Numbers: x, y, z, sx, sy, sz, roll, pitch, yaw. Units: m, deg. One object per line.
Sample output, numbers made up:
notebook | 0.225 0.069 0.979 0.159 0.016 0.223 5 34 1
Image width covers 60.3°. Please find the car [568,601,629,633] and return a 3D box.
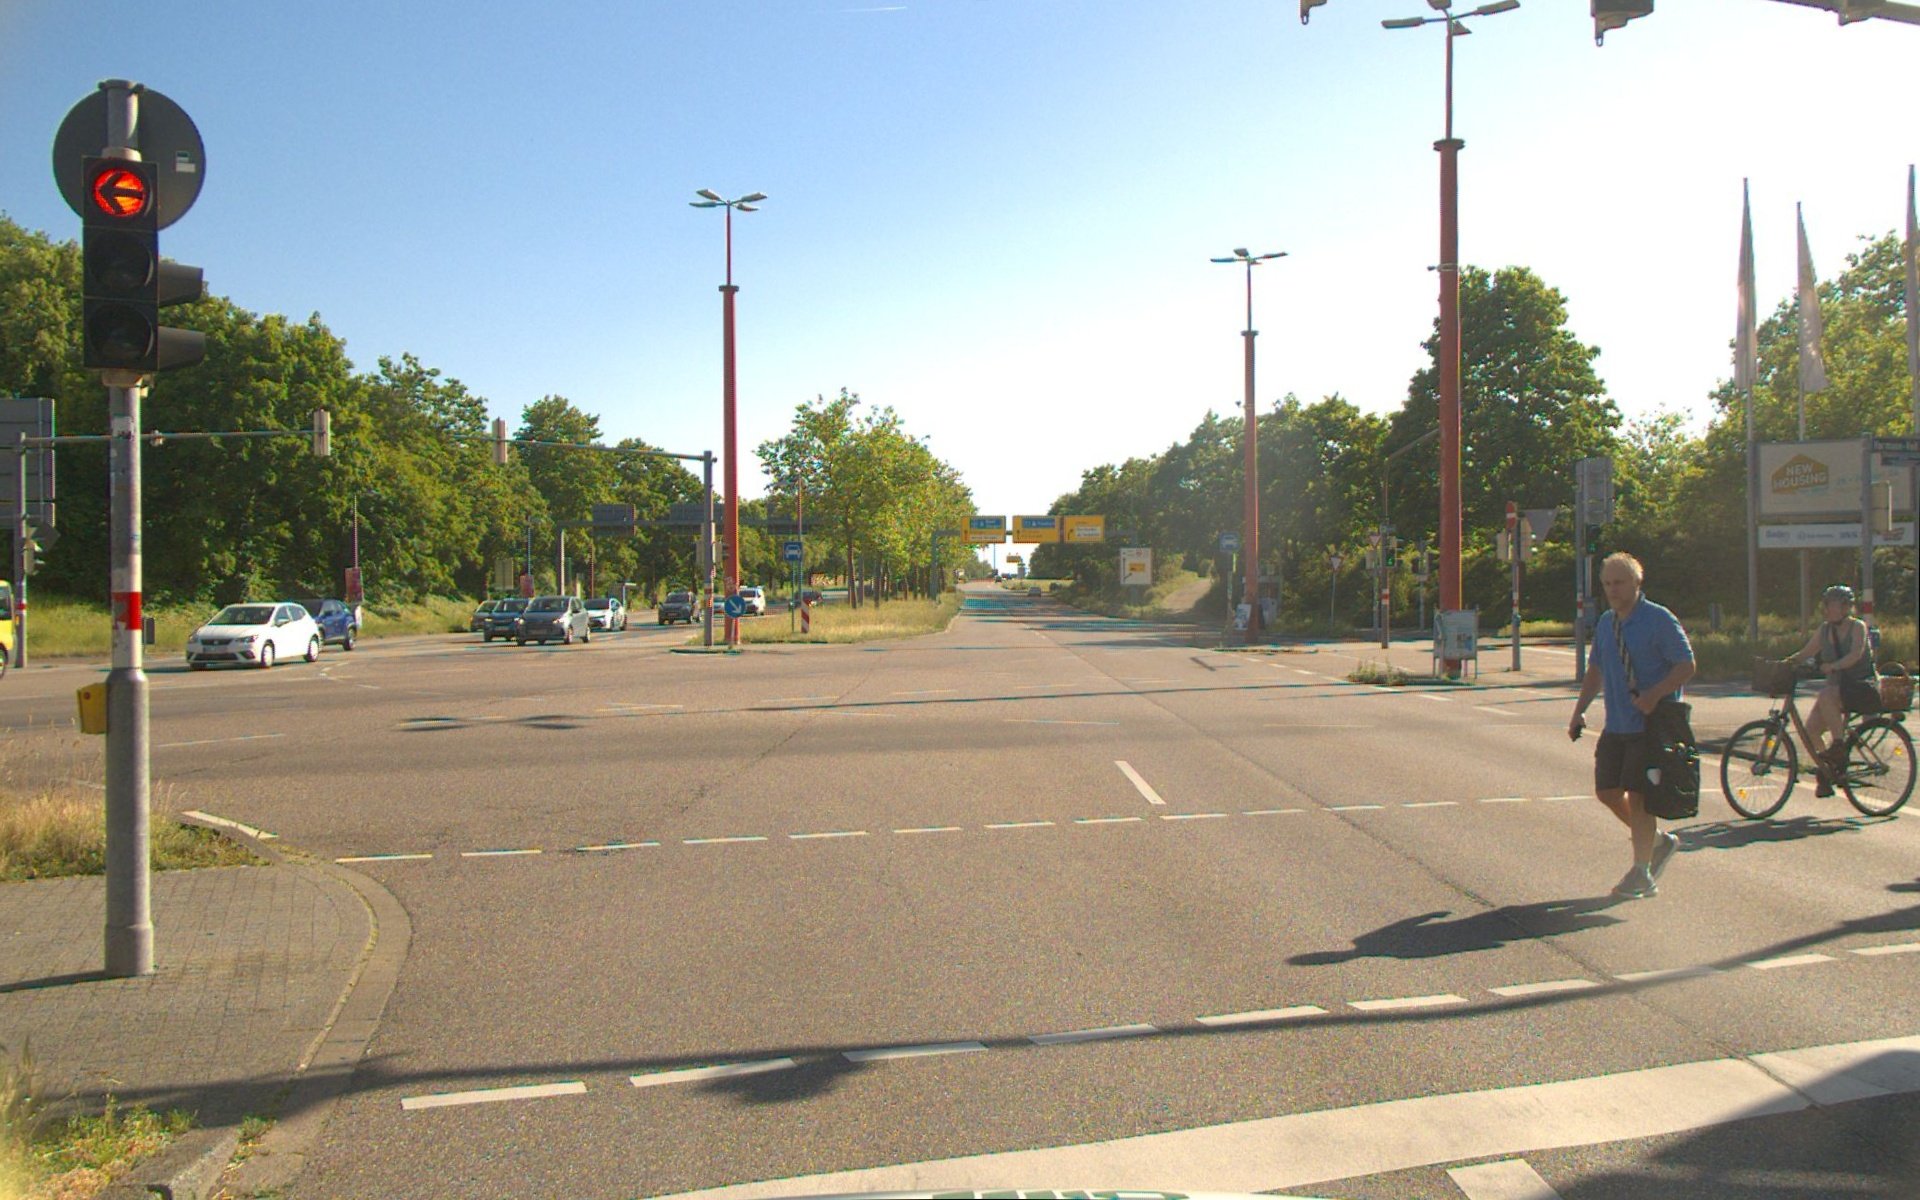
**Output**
car | -15.870 0.729 72.742 1.963 1.330 3.998 0 0 -2

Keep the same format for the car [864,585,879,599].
car | -12.062 -1.101 226.222 1.963 1.891 3.998 1 0 -2

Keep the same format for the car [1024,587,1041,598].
car | 9.847 -0.991 224.055 2.012 1.395 4.391 0 0 -1

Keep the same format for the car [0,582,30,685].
car | -19.740 0.635 31.115 1.721 2.022 4.789 1 0 1

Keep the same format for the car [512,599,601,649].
car | -12.609 0.742 51.906 1.666 1.446 4.000 3 0 1

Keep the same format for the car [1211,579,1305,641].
car | 9.730 0.310 53.770 1.955 1.920 3.996 0 0 27

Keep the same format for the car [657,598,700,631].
car | -15.514 0.766 91.348 1.592 1.769 4.001 0 0 1

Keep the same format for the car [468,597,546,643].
car | -16.223 0.709 59.405 1.668 1.586 3.804 1 0 1

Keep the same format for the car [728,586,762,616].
car | -15.021 0.083 115.695 1.963 2.049 3.998 1 0 -2

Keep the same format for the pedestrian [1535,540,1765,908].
pedestrian | 3.687 0.613 8.835 0.885 1.820 0.888 0 0 43

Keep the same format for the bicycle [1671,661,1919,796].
bicycle | 6.284 0.916 12.066 2.125 0.894 0.558 0 0 -14

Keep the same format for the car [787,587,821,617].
car | -9.593 0.152 101.951 1.622 1.778 4.001 1 0 2

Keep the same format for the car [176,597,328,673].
car | -16.248 0.775 38.155 1.668 1.624 4.001 1 0 2

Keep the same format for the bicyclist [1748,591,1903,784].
bicyclist | 6.348 0.621 12.155 0.726 1.365 0.706 0 0 -11

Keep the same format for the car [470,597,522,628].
car | -22.825 0.630 81.469 1.499 1.475 3.704 1 0 0
